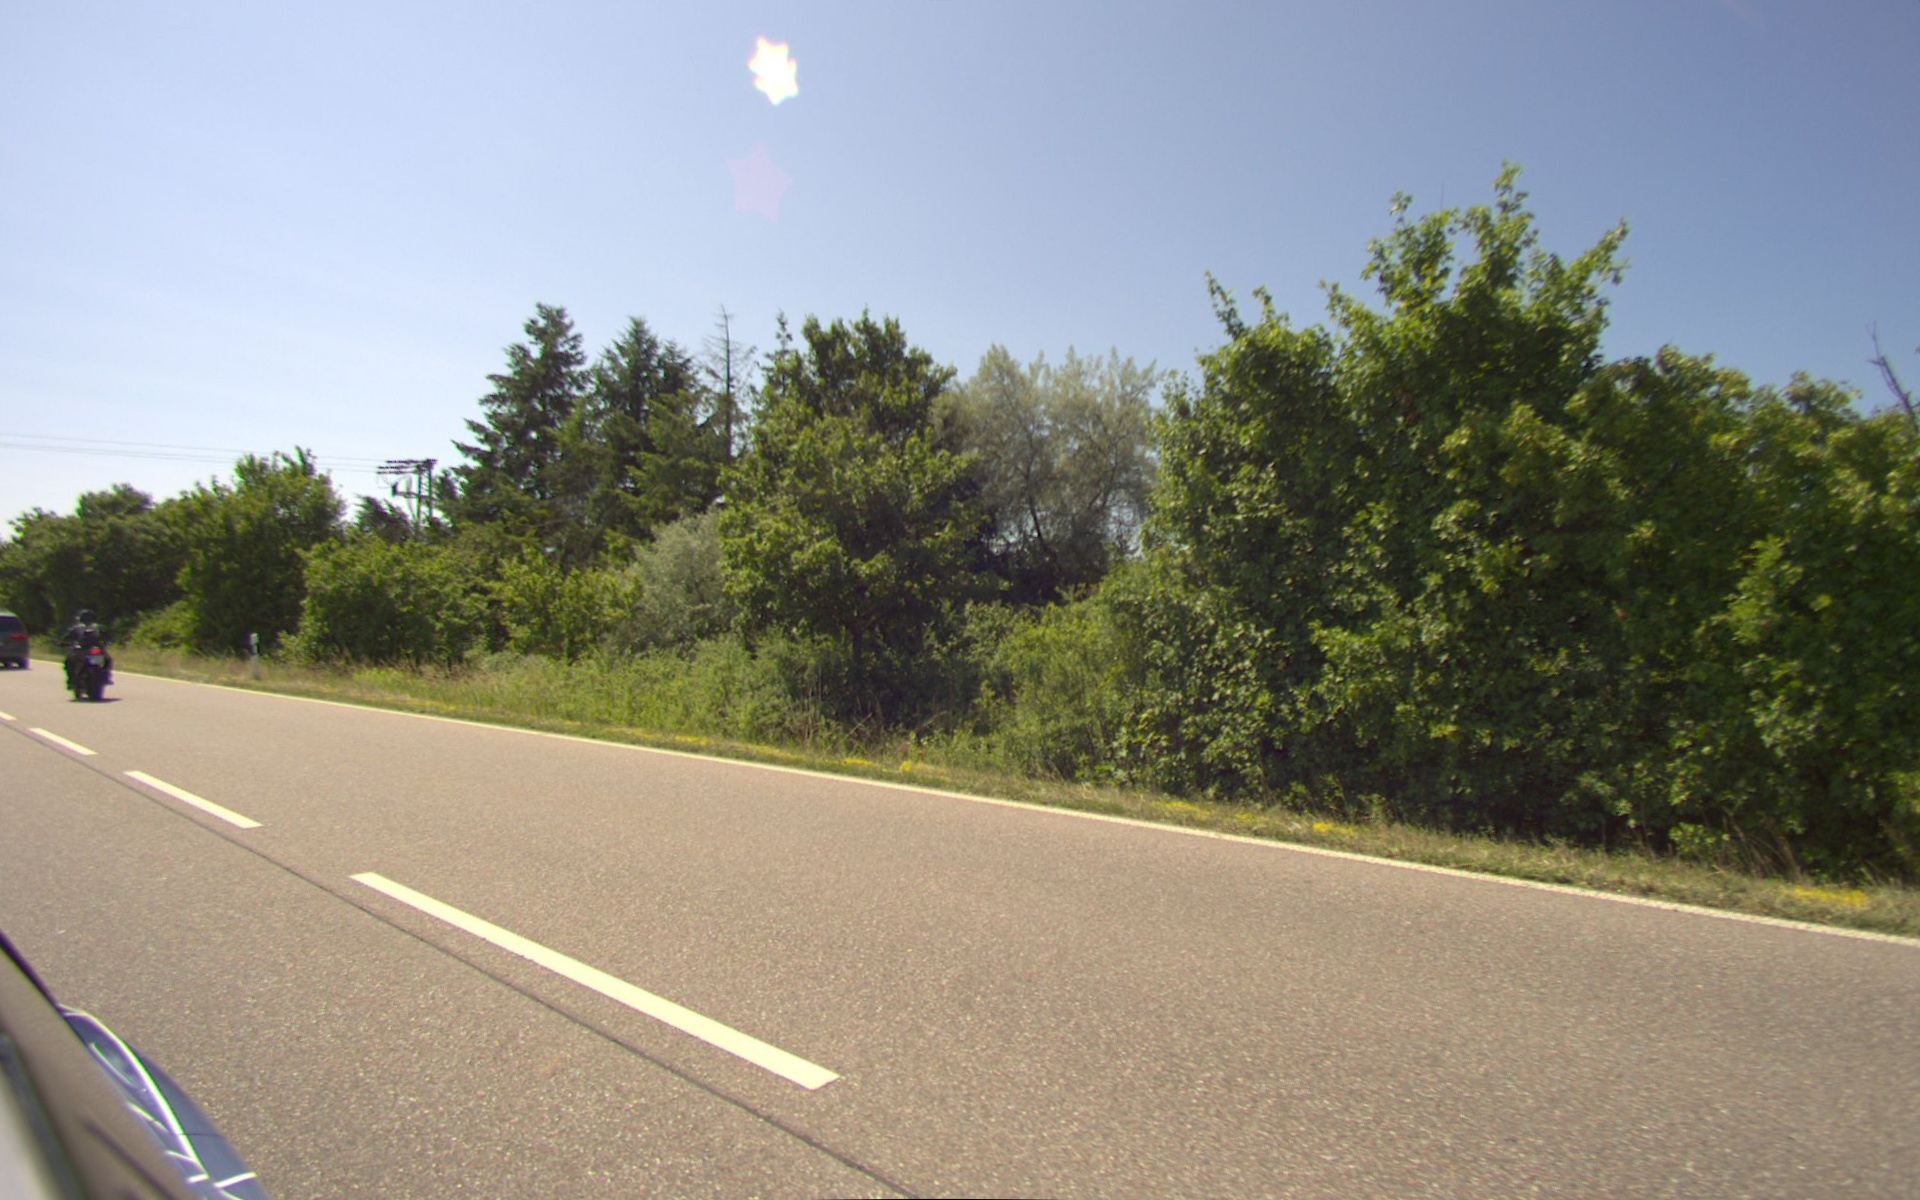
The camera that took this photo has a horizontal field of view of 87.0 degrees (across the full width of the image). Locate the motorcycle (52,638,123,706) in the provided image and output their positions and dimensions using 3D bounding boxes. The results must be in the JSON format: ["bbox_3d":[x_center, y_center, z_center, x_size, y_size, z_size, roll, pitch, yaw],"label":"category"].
[{"bbox_3d":[-15.581,1.253,18.059,2.020,1.117,0.611,-1,-1,39],"label":"motorcycle"}]

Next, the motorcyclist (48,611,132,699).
[{"bbox_3d":[-15.568,0.953,18.105,1.815,1.485,0.827,-1,-1,39],"label":"motorcyclist"}]

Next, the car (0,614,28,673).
[{"bbox_3d":[-30.024,1.301,30.843,4.998,1.714,1.800,-1,-2,41],"label":"car"}]
